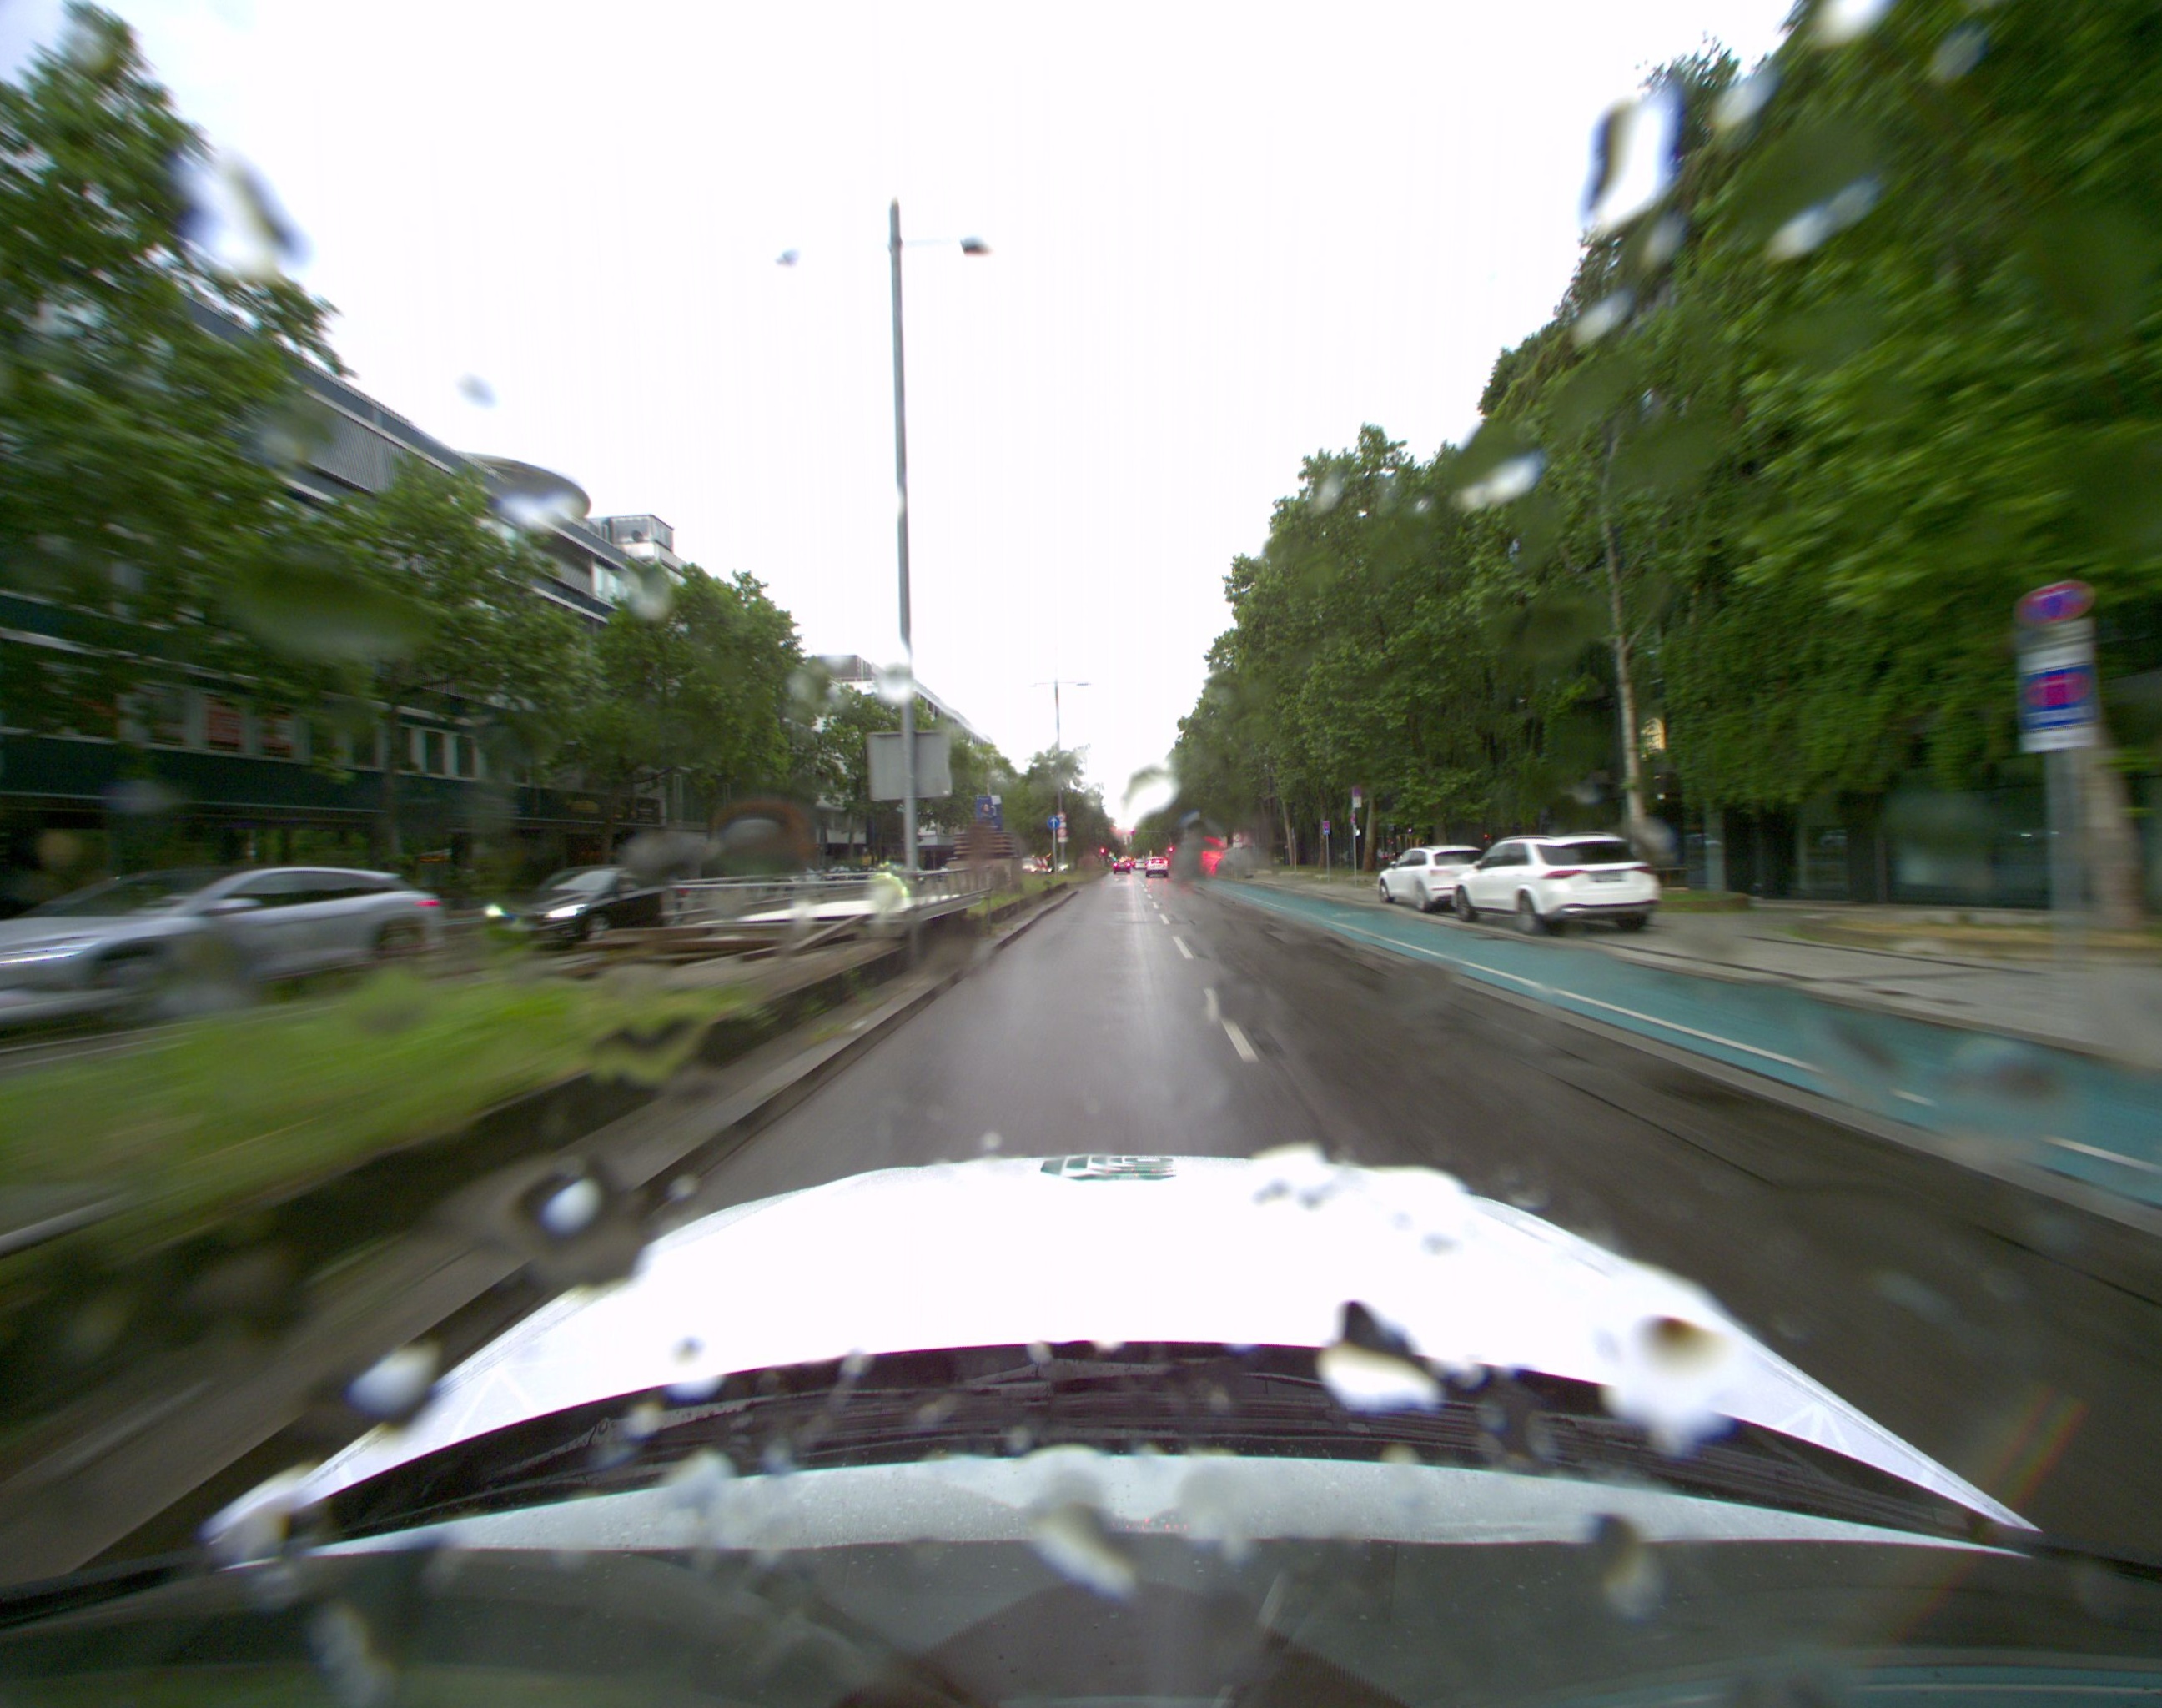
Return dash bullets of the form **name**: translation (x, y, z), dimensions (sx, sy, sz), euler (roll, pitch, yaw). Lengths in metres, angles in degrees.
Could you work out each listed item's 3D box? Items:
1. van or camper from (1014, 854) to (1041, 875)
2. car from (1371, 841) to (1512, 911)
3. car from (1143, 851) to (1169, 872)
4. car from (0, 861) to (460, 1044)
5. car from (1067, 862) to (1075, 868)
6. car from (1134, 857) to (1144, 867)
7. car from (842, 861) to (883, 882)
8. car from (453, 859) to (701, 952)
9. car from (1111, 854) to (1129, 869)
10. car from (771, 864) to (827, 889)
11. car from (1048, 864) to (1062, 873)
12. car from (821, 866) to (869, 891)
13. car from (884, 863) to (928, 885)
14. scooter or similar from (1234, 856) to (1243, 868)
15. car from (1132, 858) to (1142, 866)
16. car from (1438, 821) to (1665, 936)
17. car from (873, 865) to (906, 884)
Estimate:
- **van or camper**: translation (-5.164, 1.005, 78.748), dimensions (1.985, 1.913, 5.255), euler (-1, 0, 3)
- **car**: translation (9.442, 0.512, 21.806), dimensions (1.836, 1.632, 4.789), euler (-1, 0, 3)
- **car**: translation (6.394, 0.618, 69.779), dimensions (1.985, 1.655, 4.892), euler (-1, 0, 3)
- **car**: translation (-10.227, 0.911, 9.693), dimensions (1.727, 1.573, 4.836), euler (-1, 0, 3)
- **car**: translation (-2.405, 2.578, 196.472), dimensions (1.608, 1.394, 3.600), euler (-1, 0, 3)
- **car**: translation (9.714, 1.325, 136.150), dimensions (1.614, 1.666, 4.003), euler (-2, 0, 3)
- **car**: translation (-16.186, 1.244, 60.562), dimensions (1.686, 1.409, 4.459), euler (-1, 0, 3)
- **car**: translation (-9.912, 0.920, 16.552), dimensions (1.905, 1.552, 4.548), euler (-1, 0, 5)
- **car**: translation (4.257, 0.793, 89.261), dimensions (1.911, 1.491, 4.003), euler (-2, 0, 3)
- **car**: translation (-16.910, 1.311, 49.082), dimensions (1.553, 1.353, 4.686), euler (0, 0, 3)
- **car**: translation (-4.224, 2.338, 132.428), dimensions (1.836, 1.429, 3.645), euler (-1, -1, 3)
- **car**: translation (-15.538, 1.570, 53.780), dimensions (1.829, 1.508, 4.003), euler (-1, 0, 3)
- **car**: translation (-12.169, 1.367, 56.934), dimensions (1.960, 1.409, 4.956), euler (-1, 0, 0)
- **scooter or similar**: translation (16.208, 0.798, 83.752), dimensions (0.377, 1.228, 1.086), euler (-2, -1, 39)
- **car**: translation (10.122, 1.485, 148.066), dimensions (1.614, 1.374, 4.003), euler (-2, 0, 3)
- **car**: translation (8.953, 0.401, 16.132), dimensions (1.835, 1.838, 5.100), euler (-3, 0, 5)
- **car**: translation (-15.675, 1.675, 66.867), dimensions (1.686, 1.468, 3.462), euler (-1, 0, 3)
